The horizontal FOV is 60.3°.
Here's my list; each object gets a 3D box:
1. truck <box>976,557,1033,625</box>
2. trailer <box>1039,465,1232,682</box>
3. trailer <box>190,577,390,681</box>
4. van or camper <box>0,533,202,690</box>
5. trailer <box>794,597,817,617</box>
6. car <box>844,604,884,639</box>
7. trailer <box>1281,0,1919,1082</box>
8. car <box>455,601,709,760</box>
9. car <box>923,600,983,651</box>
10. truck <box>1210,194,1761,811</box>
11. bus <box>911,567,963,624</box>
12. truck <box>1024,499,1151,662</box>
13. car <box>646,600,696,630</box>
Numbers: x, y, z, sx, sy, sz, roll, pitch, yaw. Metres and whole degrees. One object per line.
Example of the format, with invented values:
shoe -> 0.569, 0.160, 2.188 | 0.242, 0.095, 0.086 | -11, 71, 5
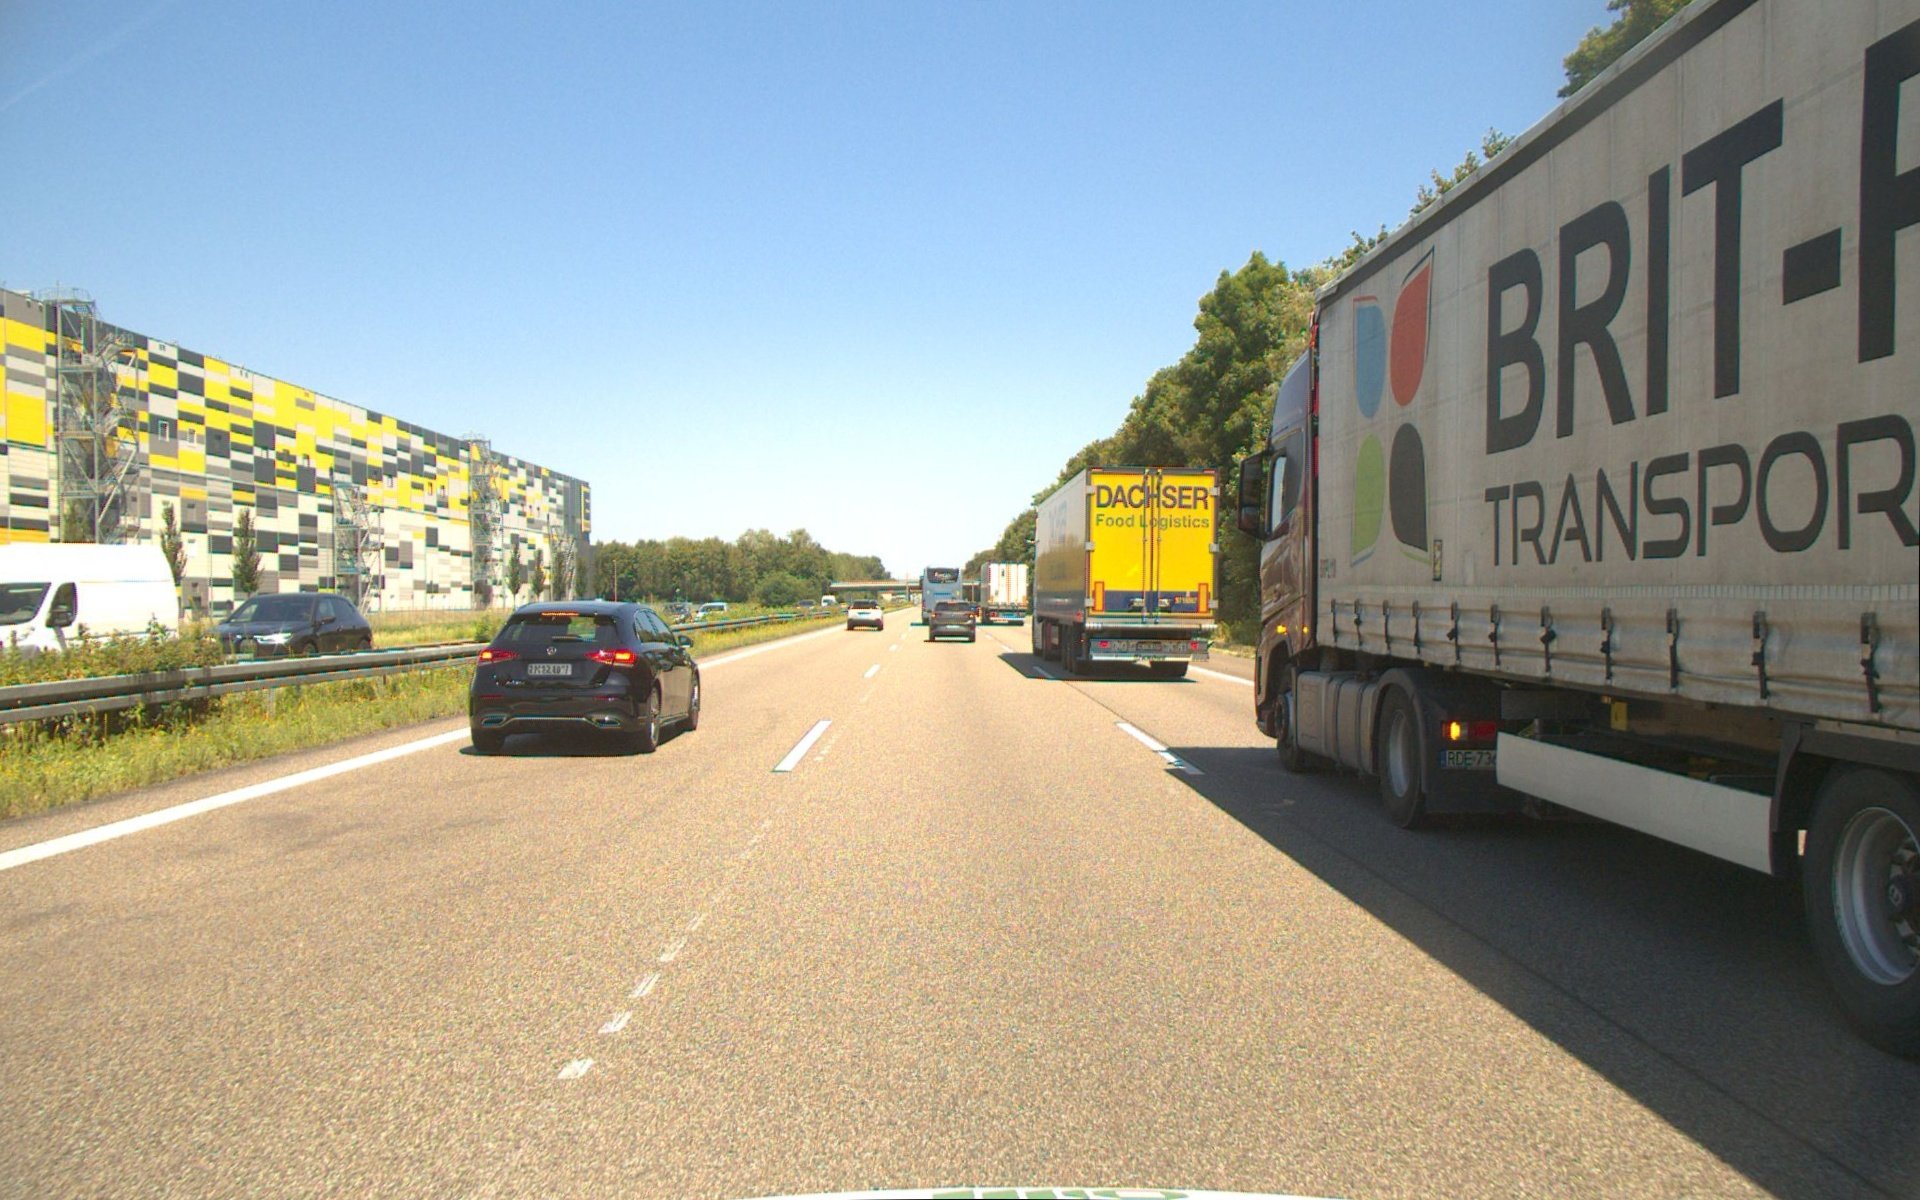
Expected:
truck -> 2.842, -0.556, 107.934 | 3.353, 4.198, 9.563 | -1, 0, 0
trailer -> 3.553, -0.514, 36.632 | 2.777, 4.023, 11.680 | 0, 0, -1
trailer -> -12.766, 0.513, 31.861 | 1.953, 1.789, 4.855 | -1, 0, -2
van or camper -> -16.564, 0.252, 30.513 | 2.373, 2.578, 6.174 | -2, 0, -2
trailer -> -15.048, 0.670, 161.363 | 1.905, 1.821, 5.235 | -1, 0, -2
car -> -4.844, 1.067, 83.961 | 1.953, 1.758, 4.129 | 0, 0, -2
trailer -> 4.512, -0.765, 7.333 | 3.043, 4.585, 14.892 | 0, 0, -1
car -> -3.784, 0.744, 17.238 | 1.755, 1.436, 4.052 | 1, 0, -1
car -> -0.321, 0.917, 62.959 | 2.171, 1.821, 5.392 | -1, 0, -1
truck -> 4.348, -0.697, 15.228 | 3.025, 4.518, 6.051 | 1, 0, -1
bus -> -1.496, -0.278, 104.594 | 3.001, 3.385, 8.270 | -1, 0, -2
truck -> 3.326, -0.502, 44.755 | 2.756, 4.076, 6.643 | 0, 0, -1
car -> -18.546, 0.952, 106.498 | 2.269, 1.847, 5.350 | -1, 0, -1
